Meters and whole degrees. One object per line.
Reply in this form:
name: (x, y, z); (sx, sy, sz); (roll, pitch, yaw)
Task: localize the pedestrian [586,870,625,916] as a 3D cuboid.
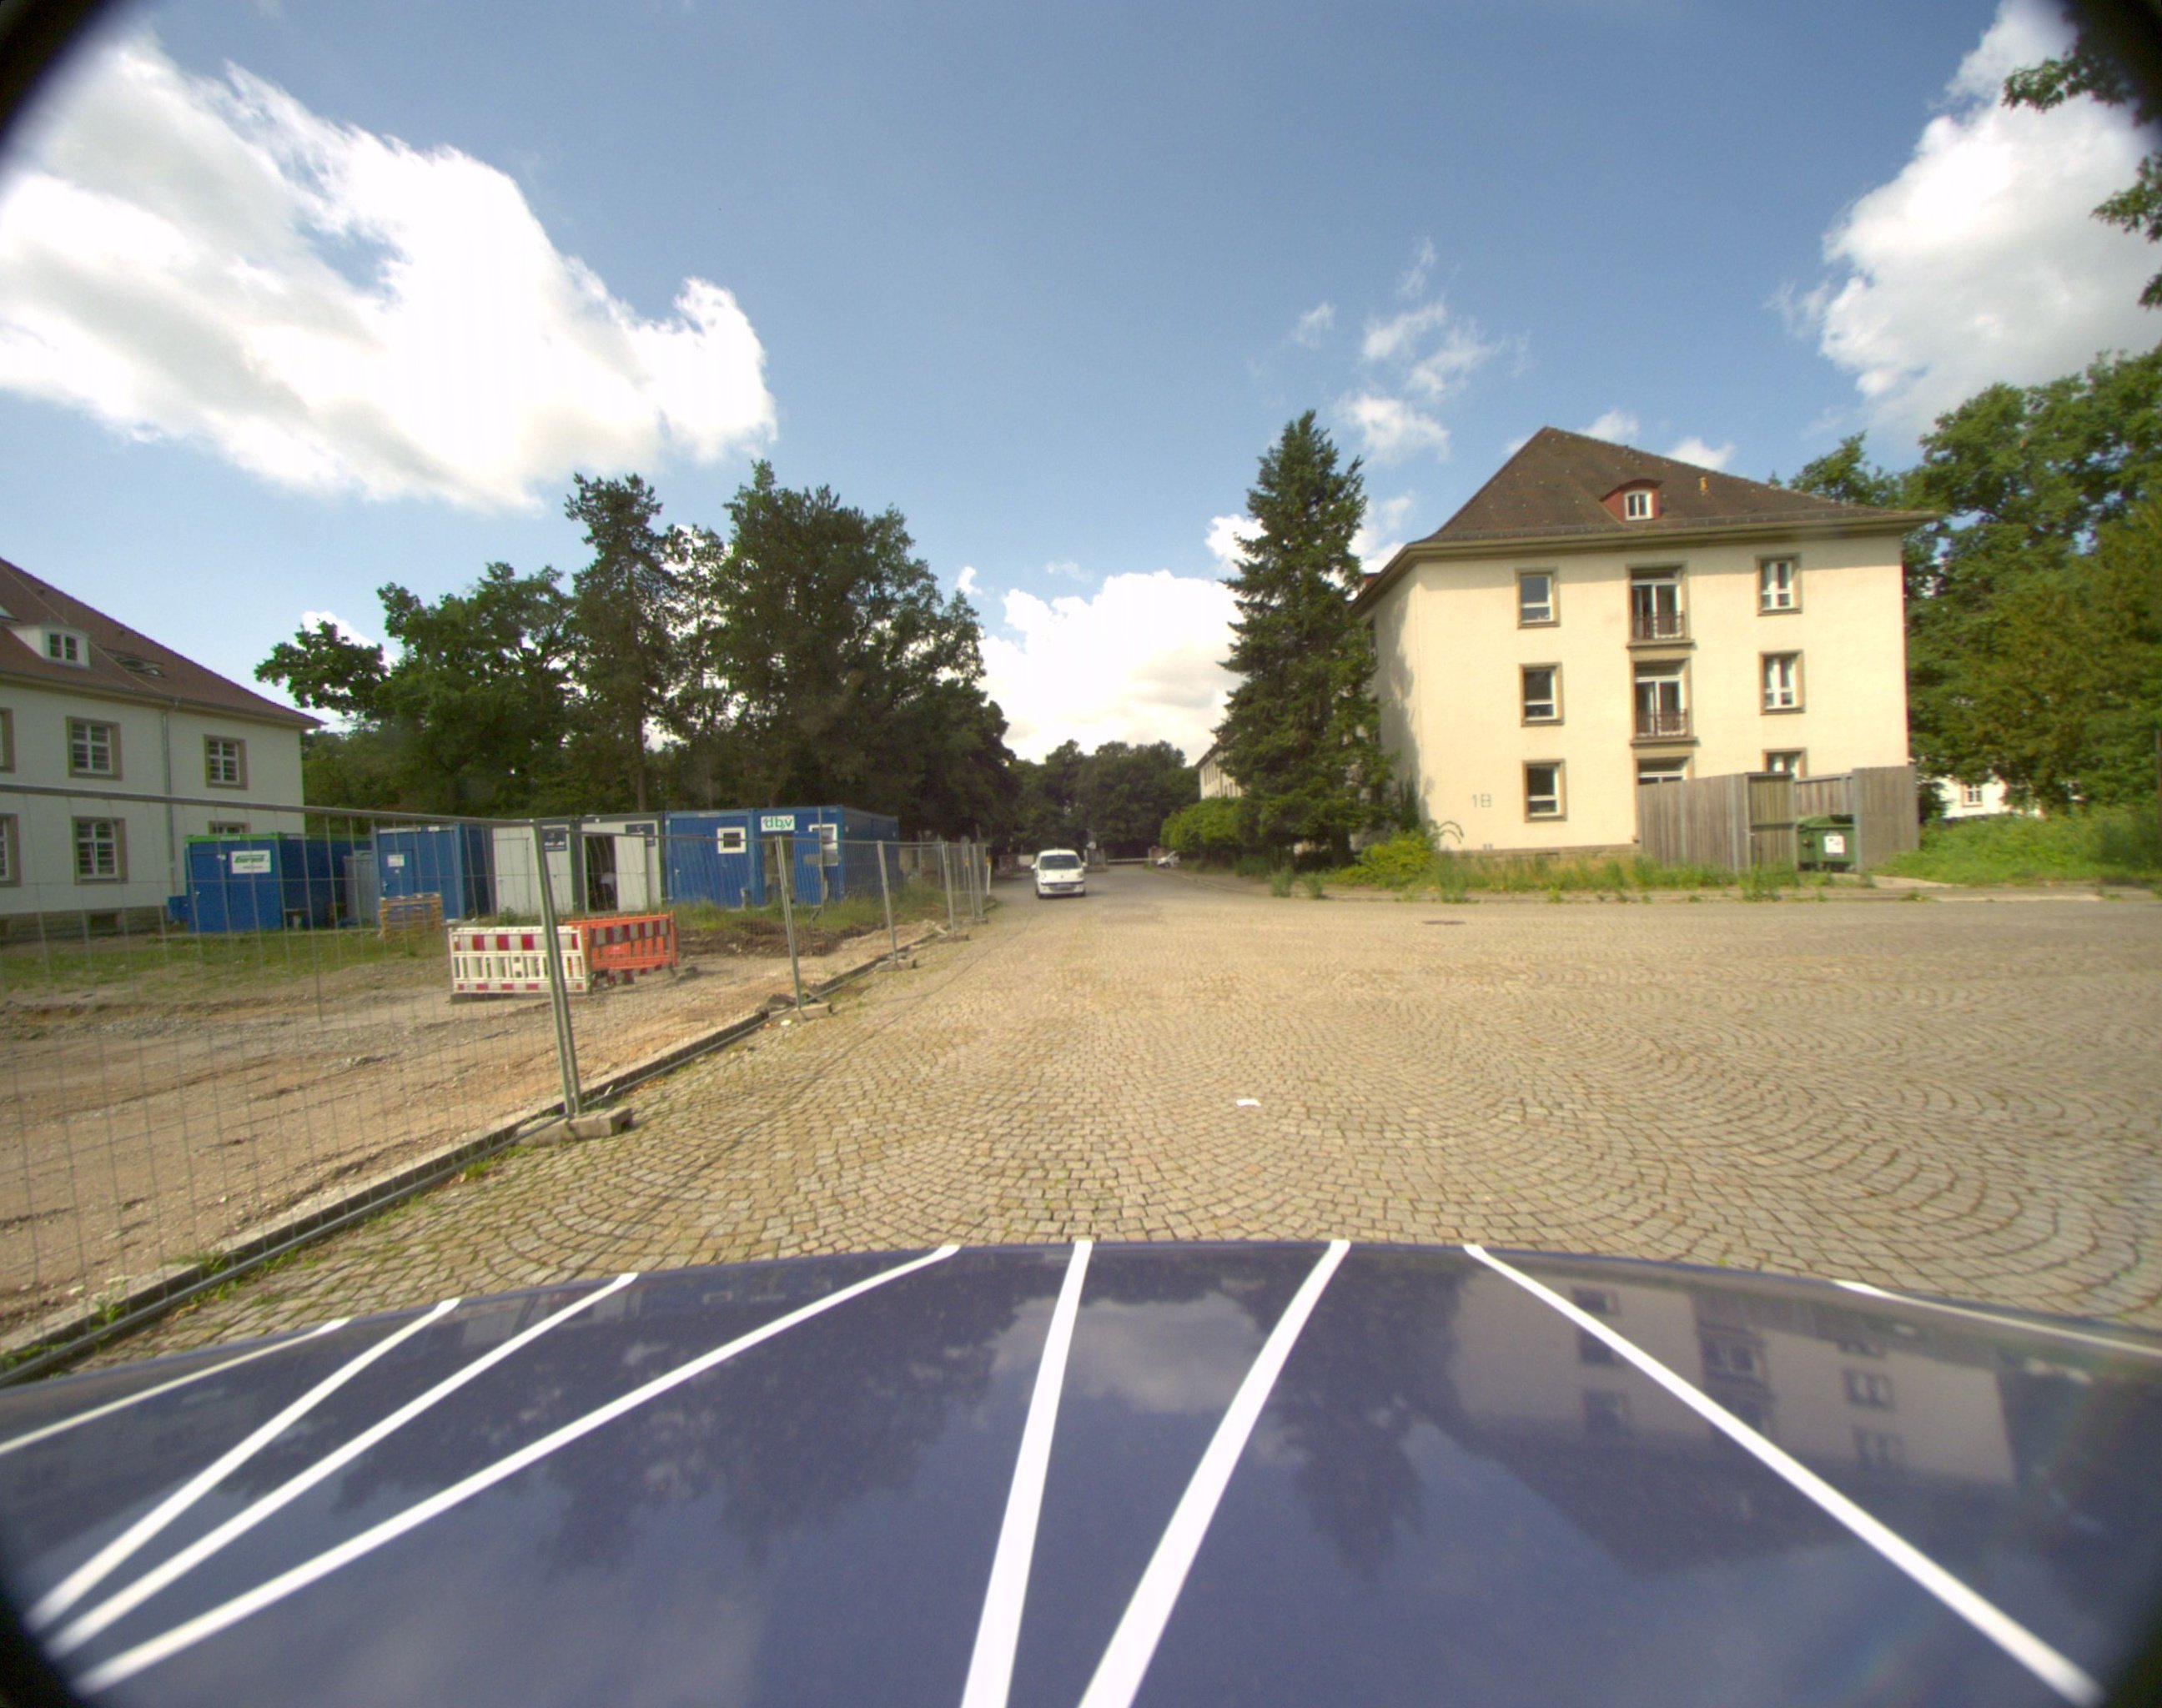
pedestrian: (-13.433, 1.094, 21.463); (0.602, 1.236, 0.683); (-3, 1, 1)

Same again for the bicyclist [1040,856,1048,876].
bicyclist: (-3.406, 1.080, 69.897); (0.634, 1.760, 0.571); (-3, 1, 0)

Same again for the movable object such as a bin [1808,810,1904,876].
movable object such as a bin: (19.012, -0.262, 18.667); (1.172, 1.522, 1.153); (-2, 1, -1)

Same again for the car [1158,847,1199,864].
car: (10.217, 0.112, 79.847); (4.083, 1.634, 1.767); (-2, 1, 1)

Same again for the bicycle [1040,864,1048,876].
bicycle: (-3.385, 1.465, 69.897); (0.634, 0.990, 1.557); (-3, 0, 0)

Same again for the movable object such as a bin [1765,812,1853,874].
movable object such as a bin: (19.002, -0.277, 19.858); (1.172, 1.522, 1.153); (-2, 1, -1)

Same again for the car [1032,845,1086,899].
car: (-0.798, 0.676, 29.610); (1.839, 1.857, 4.830); (-3, -1, -1)
